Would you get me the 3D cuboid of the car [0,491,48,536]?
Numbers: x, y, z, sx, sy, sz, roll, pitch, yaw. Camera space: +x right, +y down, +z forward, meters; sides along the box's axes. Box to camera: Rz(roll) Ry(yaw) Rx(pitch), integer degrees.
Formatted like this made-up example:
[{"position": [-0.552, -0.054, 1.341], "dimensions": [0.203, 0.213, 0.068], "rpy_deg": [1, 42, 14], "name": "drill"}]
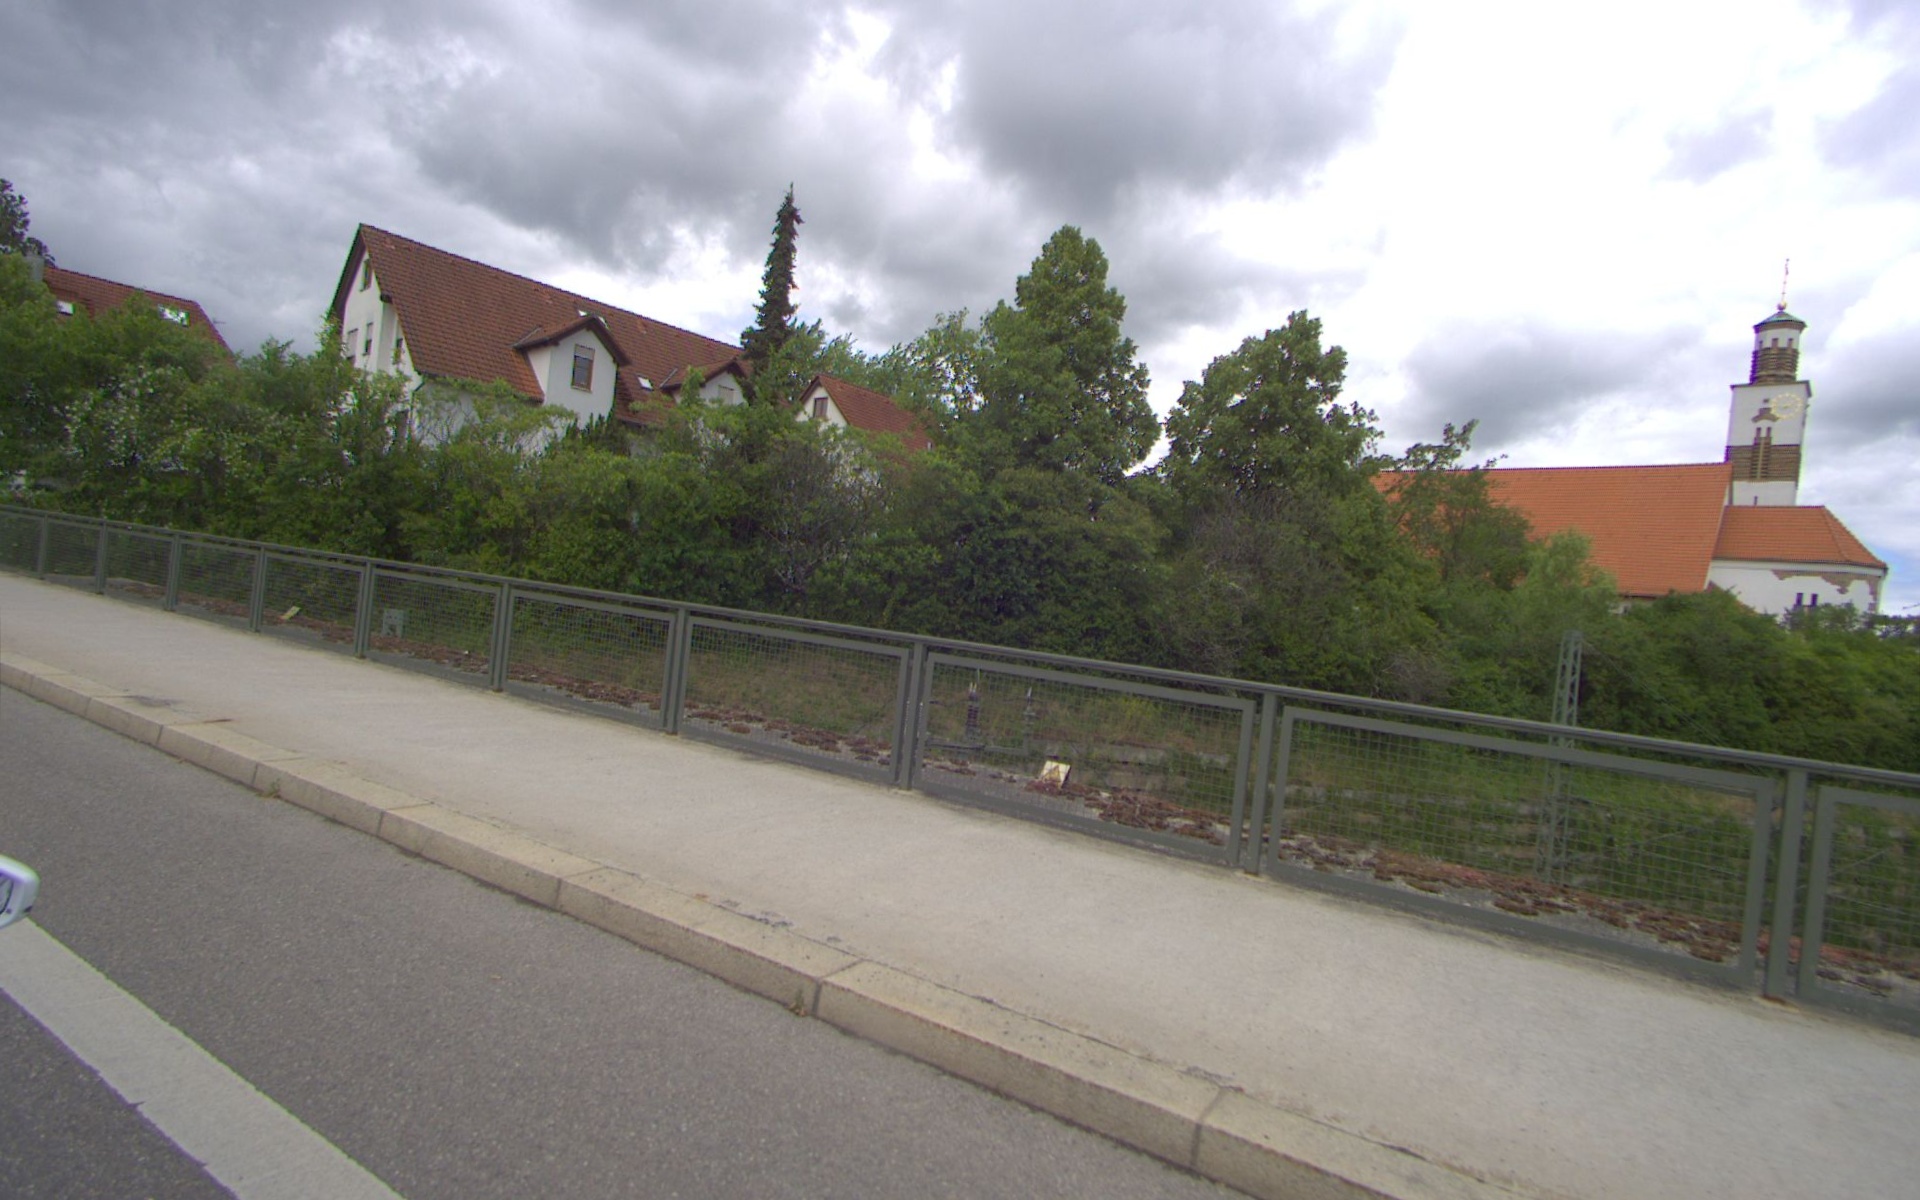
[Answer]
[{"position": [-35.423, -3.286, 37.401], "dimensions": [3.943, 1.468, 1.665], "rpy_deg": [6, 0, 40], "name": "car"}]
